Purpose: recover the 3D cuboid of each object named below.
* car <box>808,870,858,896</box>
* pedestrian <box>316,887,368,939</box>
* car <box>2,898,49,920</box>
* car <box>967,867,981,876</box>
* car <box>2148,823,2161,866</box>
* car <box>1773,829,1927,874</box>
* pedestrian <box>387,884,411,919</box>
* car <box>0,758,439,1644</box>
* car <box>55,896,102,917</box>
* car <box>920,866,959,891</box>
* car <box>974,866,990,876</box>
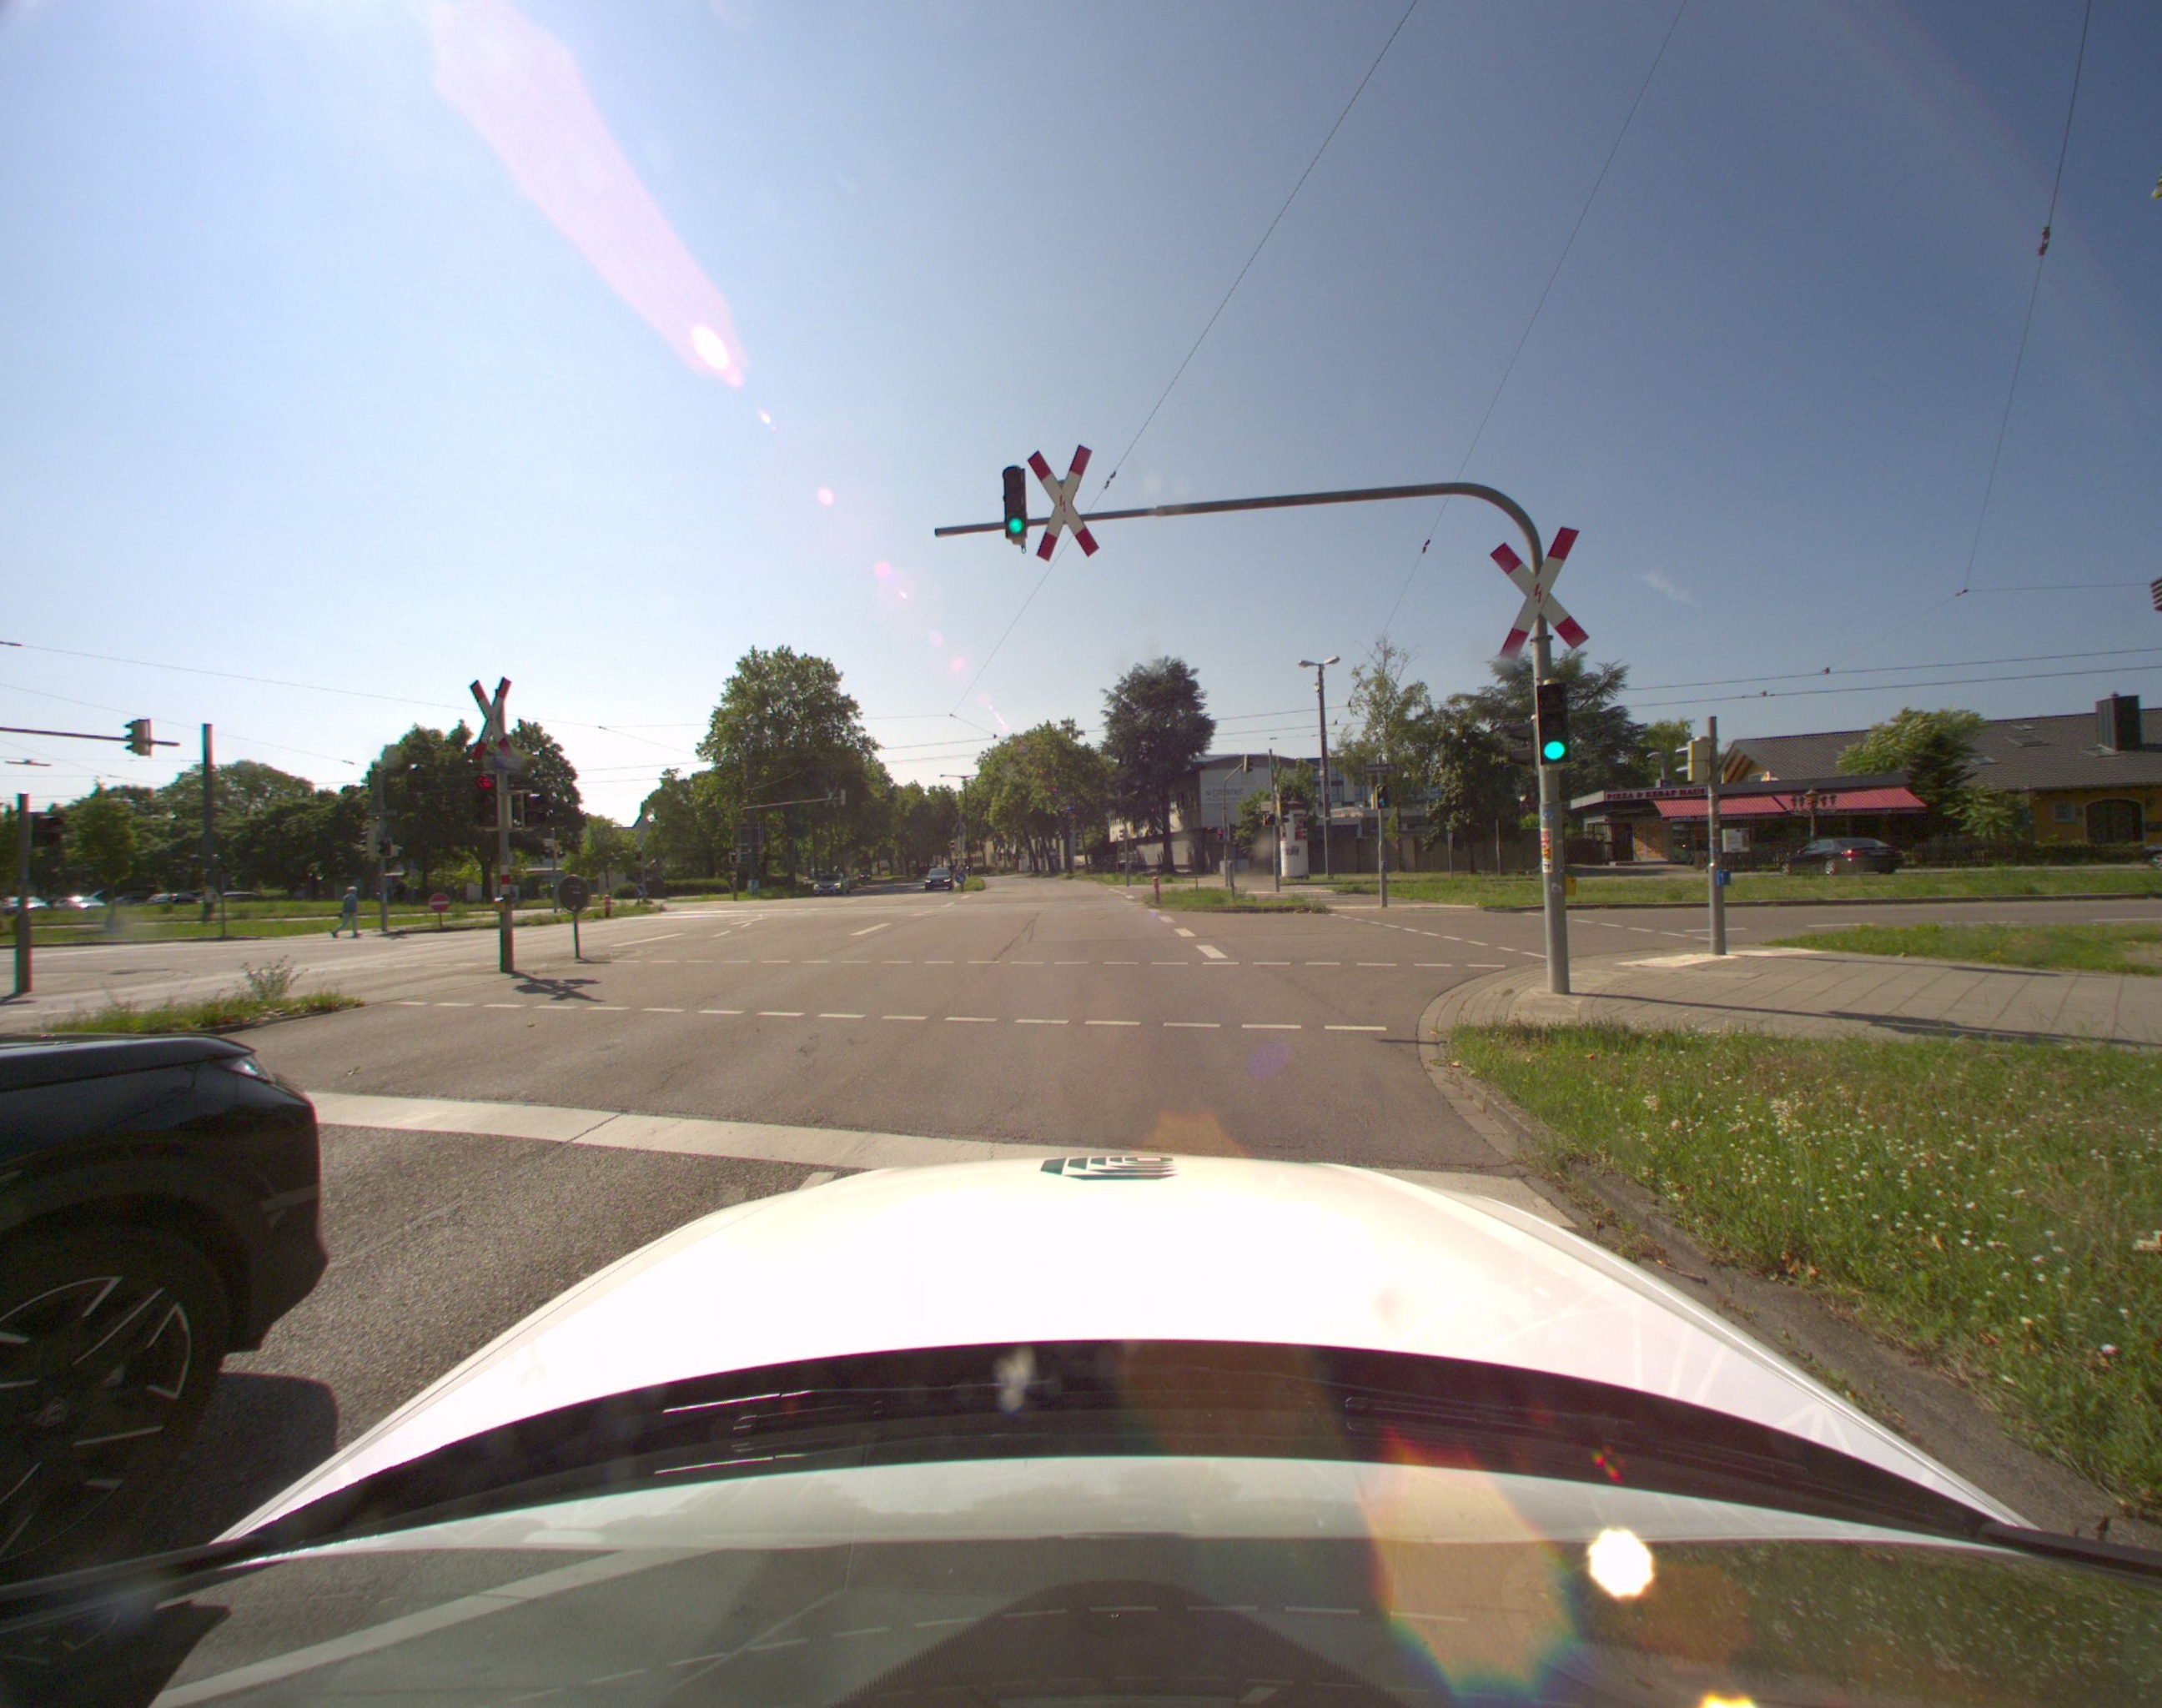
[{"bbox_3d":[-16.448,1.894,54.331,1.687,1.508,4.664,-2,-1,2],"label":"car"},{"bbox_3d":[-22.275,1.770,24.558,0.692,1.501,0.872,-2,-1,12],"label":"pedestrian"},{"bbox_3d":[-73.279,3.831,56.528,3.299,1.446,1.357,-2,-1,27],"label":"car"},{"bbox_3d":[-19.669,3.212,149.289,1.712,1.487,4.075,-2,0,-18],"label":"car"},{"bbox_3d":[38.604,-0.369,26.499,2.132,1.499,4.199,-1,-1,-5],"label":"car"},{"bbox_3d":[28.979,-0.022,30.973,2.119,1.499,5.141,-2,-2,17],"label":"car"},{"bbox_3d":[-40.599,2.815,48.469,0.793,2.013,0.710,-2,-1,-9],"label":"pedestrian"},{"bbox_3d":[-3.051,0.670,0.387,1.865,1.696,4.437,-1,0,2],"label":"car"},{"bbox_3d":[-72.058,3.768,58.514,3.299,1.446,1.457,-2,-1,27],"label":"car"},{"bbox_3d":[-9.304,1.602,53.981,1.687,1.508,4.131,-2,-1,2],"label":"car"},{"bbox_3d":[-17.540,3.025,144.174,1.714,1.487,4.683,-3,0,-22],"label":"car"}]
